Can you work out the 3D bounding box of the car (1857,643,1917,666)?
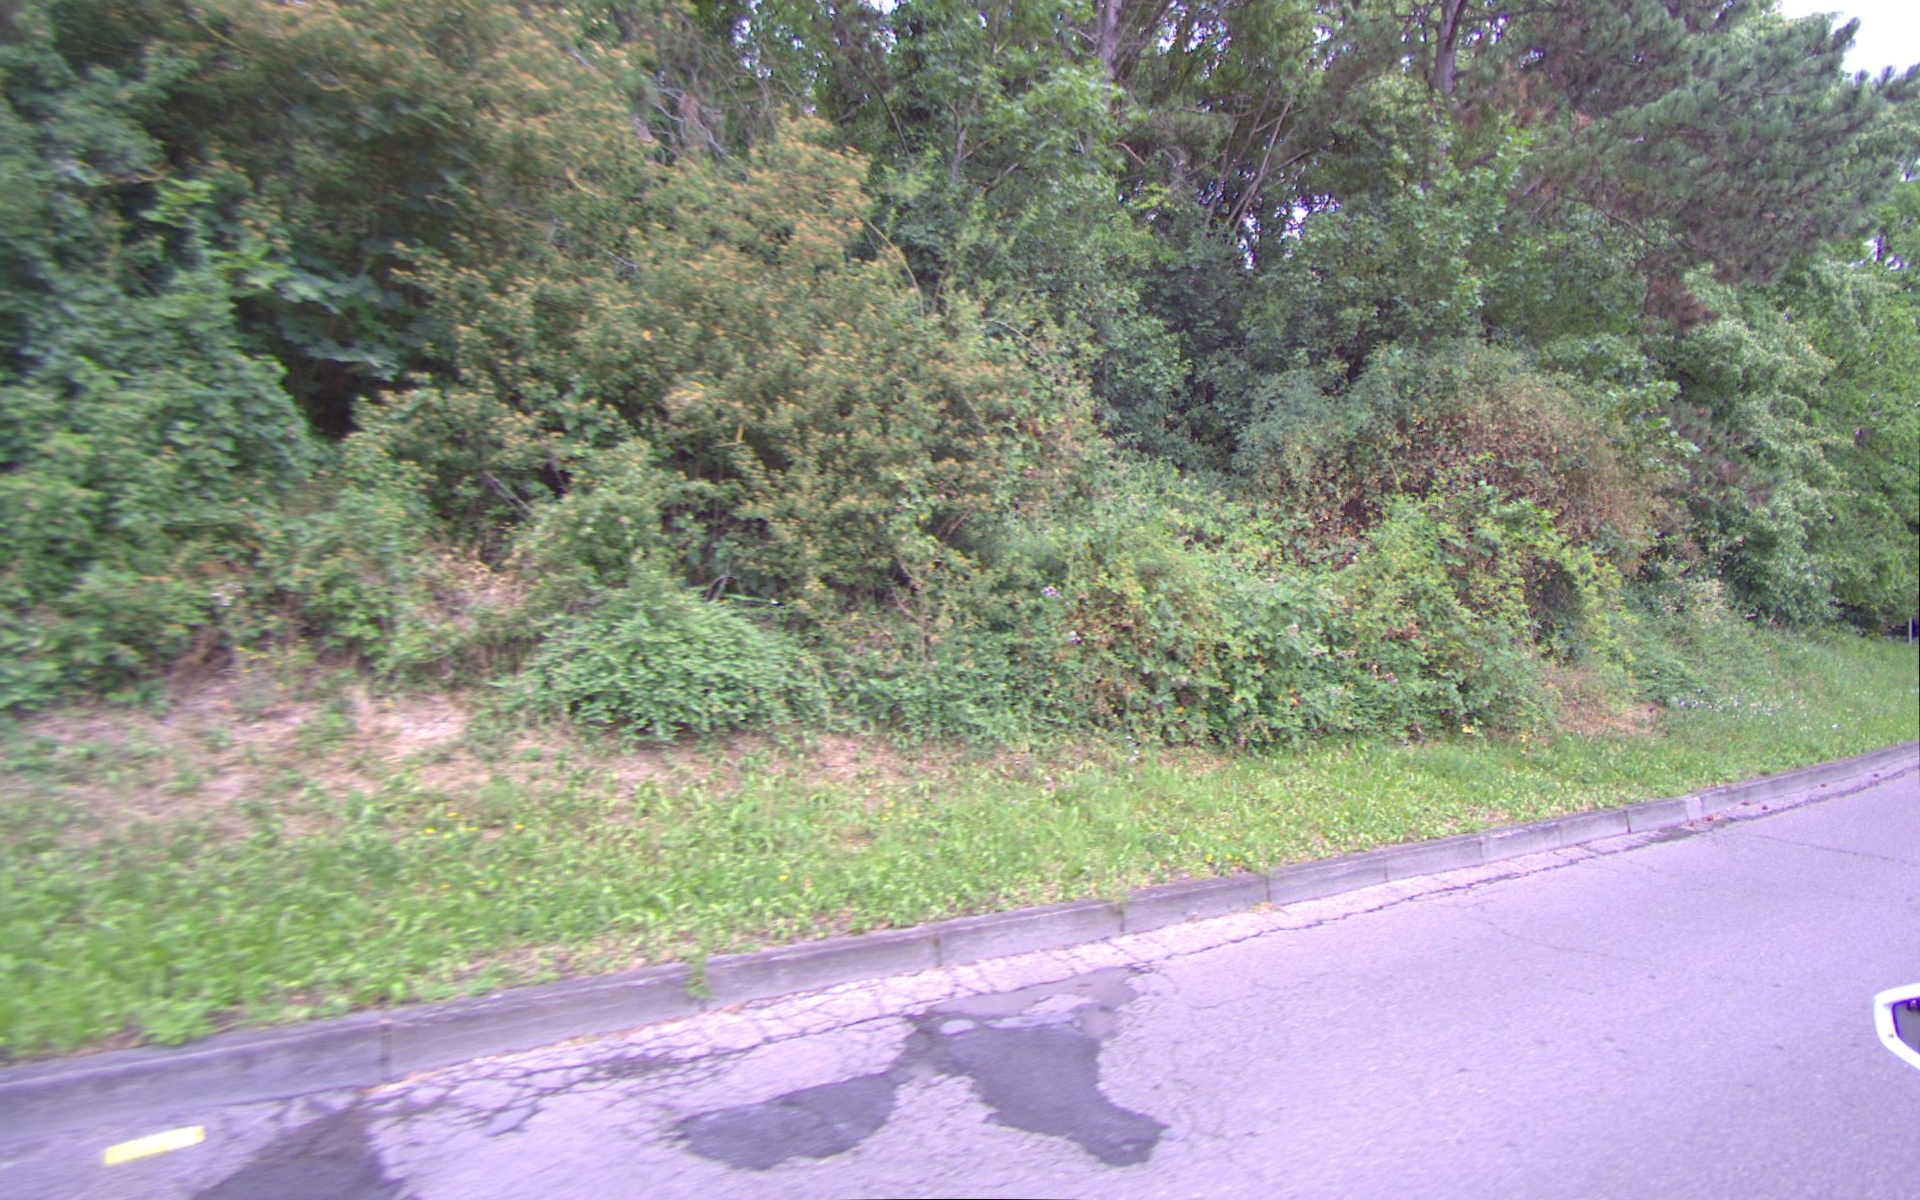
[{"bbox_3d":[62.567,3.710,67.865,1.689,1.450,3.949,1,-2,22],"label":"car"}]
